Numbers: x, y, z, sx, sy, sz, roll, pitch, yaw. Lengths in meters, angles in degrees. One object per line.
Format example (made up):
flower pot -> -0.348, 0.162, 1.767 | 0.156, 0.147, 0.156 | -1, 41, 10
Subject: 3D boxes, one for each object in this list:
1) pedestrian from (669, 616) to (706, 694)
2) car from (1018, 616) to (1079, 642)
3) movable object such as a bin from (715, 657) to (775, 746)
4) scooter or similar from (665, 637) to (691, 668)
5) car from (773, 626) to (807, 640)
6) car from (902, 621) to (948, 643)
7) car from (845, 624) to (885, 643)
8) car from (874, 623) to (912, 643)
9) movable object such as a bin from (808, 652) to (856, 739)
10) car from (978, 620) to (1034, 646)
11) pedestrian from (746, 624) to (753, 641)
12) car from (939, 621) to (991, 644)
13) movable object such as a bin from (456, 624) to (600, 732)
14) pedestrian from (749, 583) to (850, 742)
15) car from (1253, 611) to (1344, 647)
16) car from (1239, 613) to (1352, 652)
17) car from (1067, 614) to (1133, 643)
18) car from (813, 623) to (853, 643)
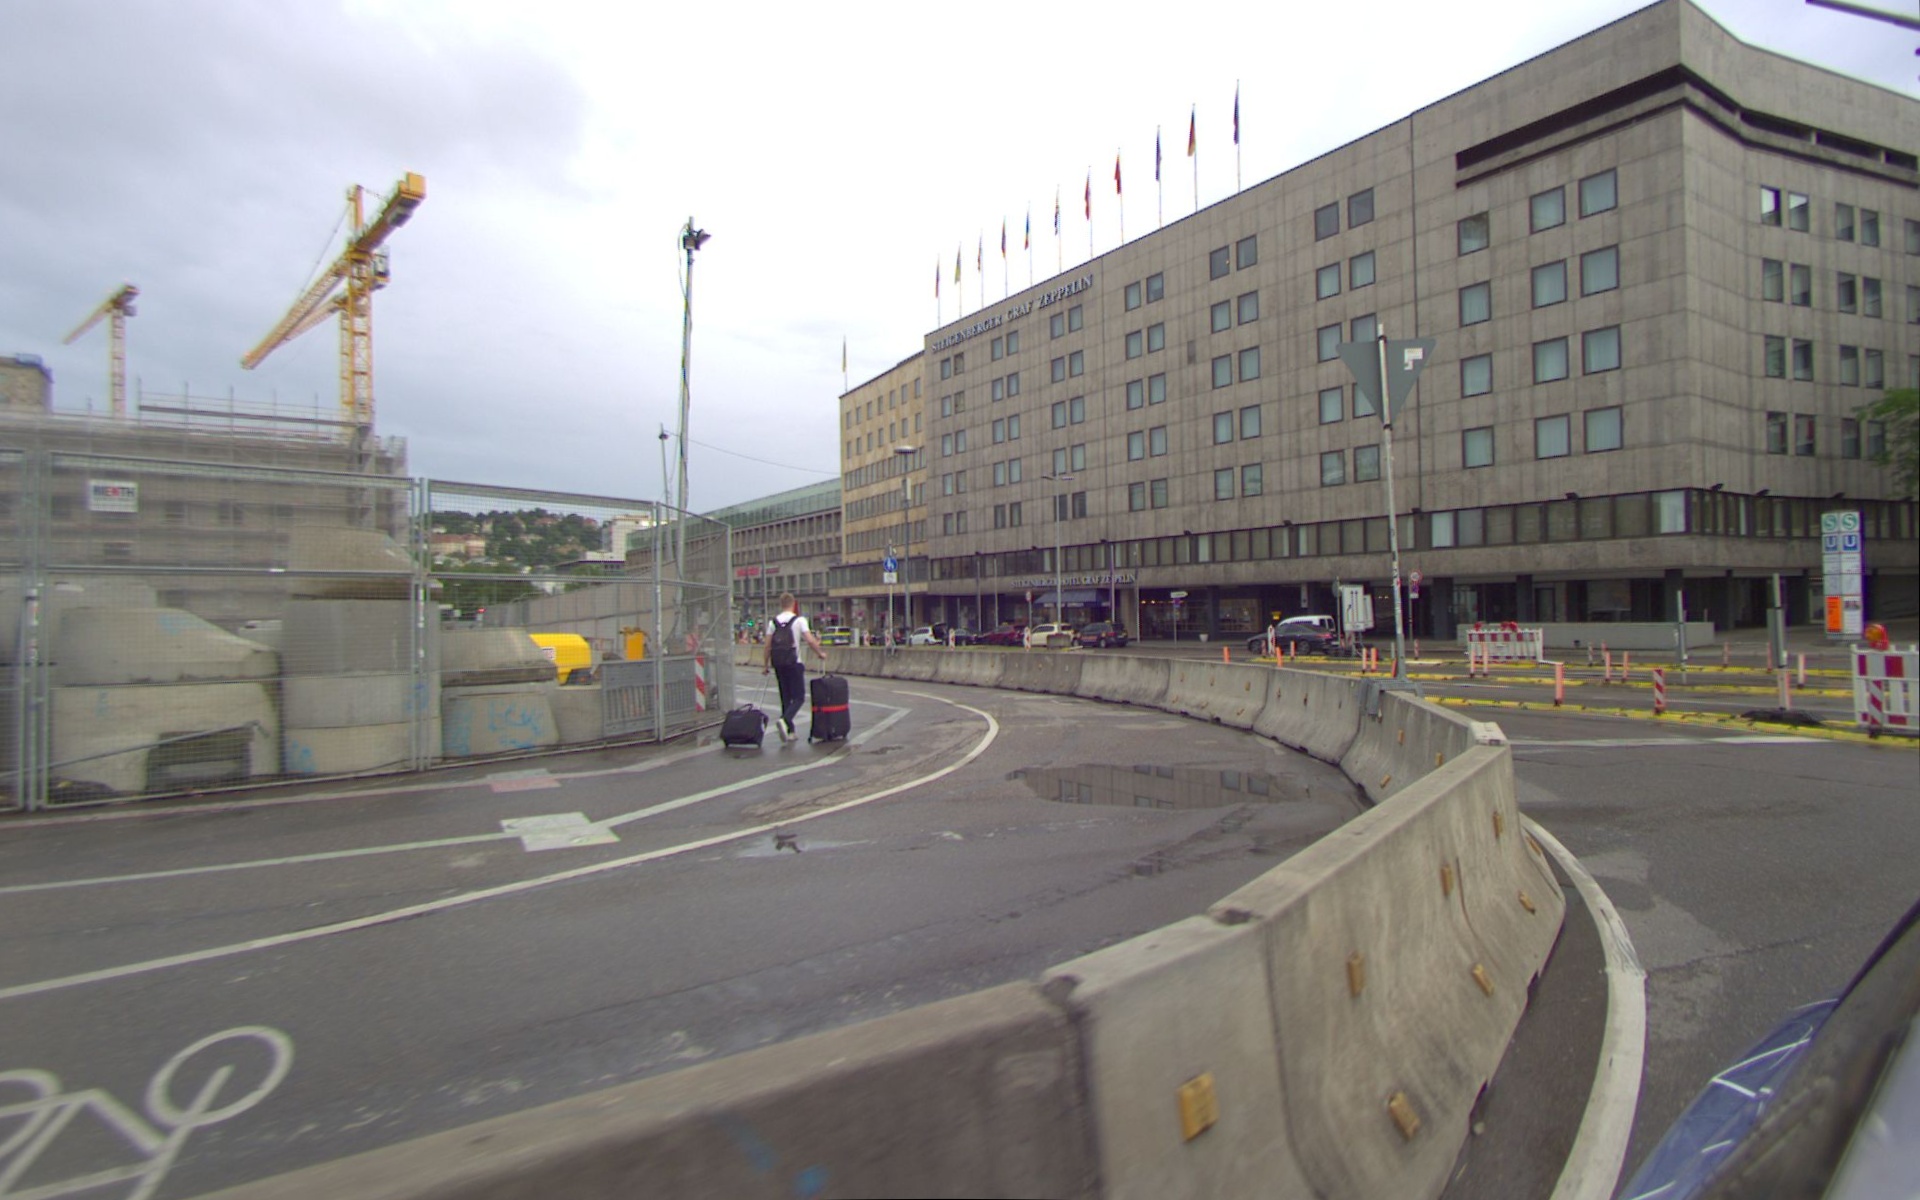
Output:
pedestrian -> -6.795, 1.364, 25.233 | 0.707, 1.890, 0.709 | 0, -2, -31
car -> 6.169, 2.047, 70.786 | 1.786, 1.720, 4.579 | 0, -1, -33
movable object such as a bin -> -2.591, 1.213, 12.213 | 0.511, 1.029, 0.551 | -2, -2, 13
scooter or similar -> -11.026, 2.037, 39.495 | 0.460, 1.198, 1.413 | 0, -2, -38
car -> -22.187, 4.328, 132.304 | 4.011, 1.661, 1.808 | -1, -2, -28
car -> -2.981, 2.680, 85.135 | 1.726, 1.781, 4.711 | 0, -2, -34
car -> -8.900, 3.110, 94.528 | 1.726, 1.642, 4.565 | 0, -2, -34
car -> -6.006, 2.941, 89.860 | 1.724, 1.703, 4.232 | 0, -2, -29
movable object such as a bin -> -1.586, 1.177, 12.587 | 0.425, 1.029, 0.520 | -2, -2, 13
car -> 3.398, 2.451, 75.452 | 1.870, 1.790, 4.649 | 0, -1, -31
pedestrian -> -25.282, 3.905, 121.544 | 0.580, 1.950, 0.752 | 0, -2, -33
car -> 0.359, 2.585, 79.954 | 1.872, 1.681, 4.617 | -1, -2, -33
movable object such as a bin -> -6.359, 1.111, 14.950 | 1.855, 1.490, 1.190 | 1, -1, -24
pedestrian -> -1.975, 0.761, 12.523 | 0.988, 1.889, 0.775 | -2, -2, 13
car -> 17.707, 1.542, 53.116 | 1.745, 1.785, 4.372 | 0, -2, -33
car -> 14.960, 1.437, 45.396 | 1.977, 1.619, 4.668 | 0, -2, -28
car -> 9.120, 1.864, 66.235 | 1.786, 1.750, 4.517 | 0, -1, -31
car -> -12.689, 3.306, 100.976 | 1.869, 1.954, 5.074 | 0, -3, -33
